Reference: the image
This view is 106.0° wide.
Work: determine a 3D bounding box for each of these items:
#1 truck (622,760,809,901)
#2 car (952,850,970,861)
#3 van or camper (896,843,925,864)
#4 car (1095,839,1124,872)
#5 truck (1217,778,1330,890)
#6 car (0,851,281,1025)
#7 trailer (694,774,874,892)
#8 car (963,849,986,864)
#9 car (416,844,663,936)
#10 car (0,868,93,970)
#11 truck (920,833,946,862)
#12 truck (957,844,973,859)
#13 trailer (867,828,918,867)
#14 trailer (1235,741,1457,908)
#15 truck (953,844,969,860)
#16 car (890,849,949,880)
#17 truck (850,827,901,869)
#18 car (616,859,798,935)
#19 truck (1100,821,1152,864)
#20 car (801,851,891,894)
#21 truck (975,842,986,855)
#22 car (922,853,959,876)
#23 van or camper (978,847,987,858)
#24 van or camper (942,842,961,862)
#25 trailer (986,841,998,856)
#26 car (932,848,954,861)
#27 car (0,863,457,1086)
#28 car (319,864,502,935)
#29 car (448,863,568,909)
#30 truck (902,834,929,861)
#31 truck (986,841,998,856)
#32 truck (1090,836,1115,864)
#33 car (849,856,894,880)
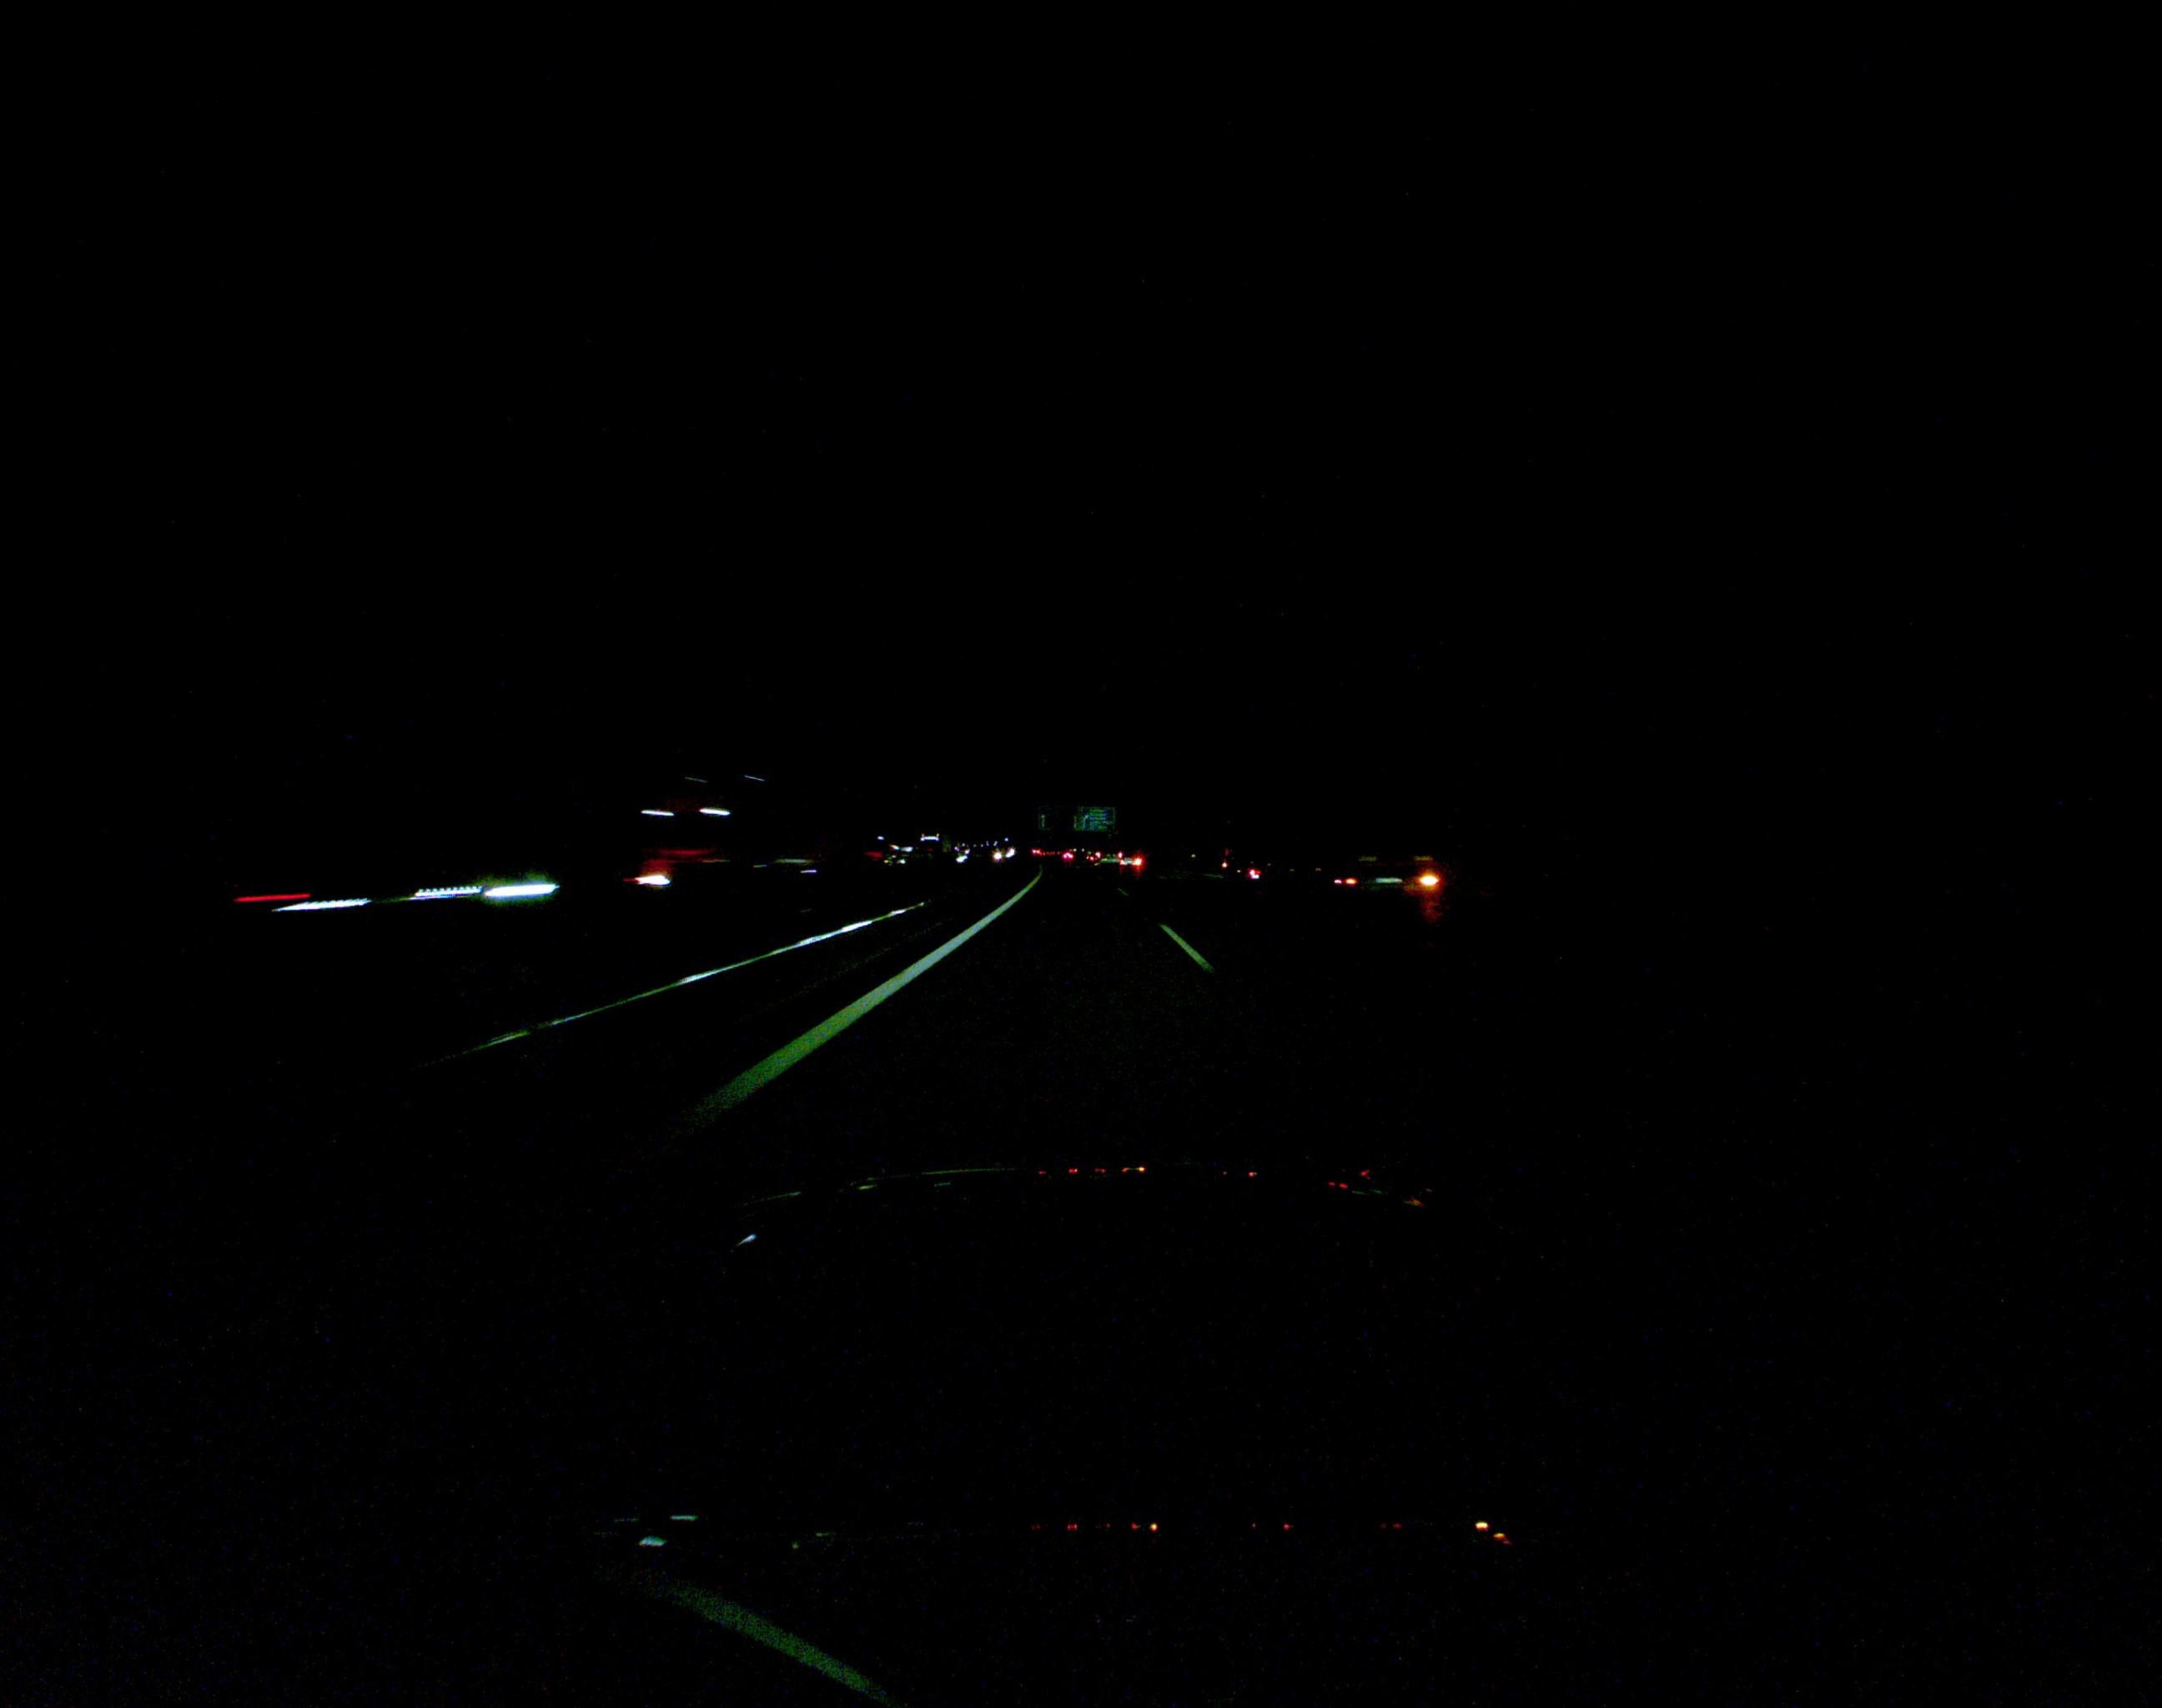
[{"bbox_3d":[-12.129,-0.640,27.926,3.100,4.097,7.071,3,-1,-1],"label":"truck"},{"bbox_3d":[-15.770,0.175,106.942,1.791,1.354,4.237,1,0,-1],"label":"car"},{"bbox_3d":[-17.882,-0.044,85.773,2.184,2.013,7.627,1,0,-5],"label":"van or camper"},{"bbox_3d":[2.479,0.149,69.235,2.328,2.640,5.250,1,-2,3],"label":"car"},{"bbox_3d":[7.714,-0.744,33.737,2.853,4.077,7.508,-1,0,0],"label":"truck"},{"bbox_3d":[-12.227,0.891,9.002,1.986,1.810,4.749,-1,0,1],"label":"car"},{"bbox_3d":[-12.210,-0.646,35.381,3.081,4.089,12.444,3,-1,0],"label":"trailer"},{"bbox_3d":[-9.998,0.264,76.649,1.565,1.354,4.000,1,0,0],"label":"car"},{"bbox_3d":[-12.262,0.728,19.073,1.986,1.810,5.488,-1,0,1],"label":"car"},{"bbox_3d":[-17.621,1.056,11.823,1.213,1.596,4.507,-1,0,-3],"label":"car"},{"bbox_3d":[-19.090,-0.795,105.495,2.398,3.514,6.715,1,0,-3],"label":"truck"},{"bbox_3d":[-23.878,-0.446,167.836,2.551,2.986,7.440,1,-1,-4],"label":"truck"},{"bbox_3d":[-17.029,-0.494,74.208,2.599,3.176,8.997,3,-1,-1],"label":"trailer"},{"bbox_3d":[7.760,-0.731,26.575,2.845,4.067,13.201,-1,0,0],"label":"trailer"},{"bbox_3d":[-23.368,-0.324,158.752,2.551,2.986,7.440,1,-1,-4],"label":"truck"},{"bbox_3d":[-7.902,0.465,40.246,1.867,1.426,4.515,1,0,2],"label":"car"},{"bbox_3d":[-16.868,-0.434,67.159,2.636,3.220,5.791,3,-1,-1],"label":"truck"},{"bbox_3d":[-8.095,0.851,18.168,1.695,1.426,4.517,-1,0,4],"label":"car"},{"bbox_3d":[5.320,-1.152,101.235,3.907,4.627,20.988,-1,-1,-4],"label":"truck"},{"bbox_3d":[-8.689,0.622,30.536,1.836,1.426,4.515,2,0,2],"label":"car"},{"bbox_3d":[-28.794,-1.531,232.622,2.873,3.673,6.032,2,0,-9],"label":"truck"},{"bbox_3d":[-8.824,0.622,51.301,1.565,1.354,4.000,1,0,0],"label":"car"},{"bbox_3d":[-23.507,-0.375,194.162,2.082,2.632,7.586,1,0,-7],"label":"van or camper"},{"bbox_3d":[-21.661,-0.370,136.073,2.428,3.272,7.382,1,0,-4],"label":"van or camper"},{"bbox_3d":[-24.168,-1.388,221.651,2.881,3.672,12.193,3,-1,-5],"label":"trailer"},{"bbox_3d":[-14.444,0.081,85.599,1.565,1.354,4.000,1,0,0],"label":"car"},{"bbox_3d":[-8.558,0.896,7.604,1.826,1.553,4.515,-1,0,2],"label":"car"},{"bbox_3d":[-15.606,0.997,19.213,1.367,1.405,3.644,3,-1,-4],"label":"car"},{"bbox_3d":[-20.541,1.113,29.403,1.648,1.477,3.774,-1,0,0],"label":"car"},{"bbox_3d":[-23.903,-0.863,118.155,2.389,3.627,11.164,1,-1,-4],"label":"truck"},{"bbox_3d":[-23.614,-1.458,216.008,2.869,3.674,6.767,3,-1,-5],"label":"truck"},{"bbox_3d":[3.613,-0.737,140.862,3.336,4.476,13.898,2,0,-2],"label":"truck"},{"bbox_3d":[-12.533,0.806,48.949,1.565,1.315,4.161,1,0,0],"label":"car"}]
